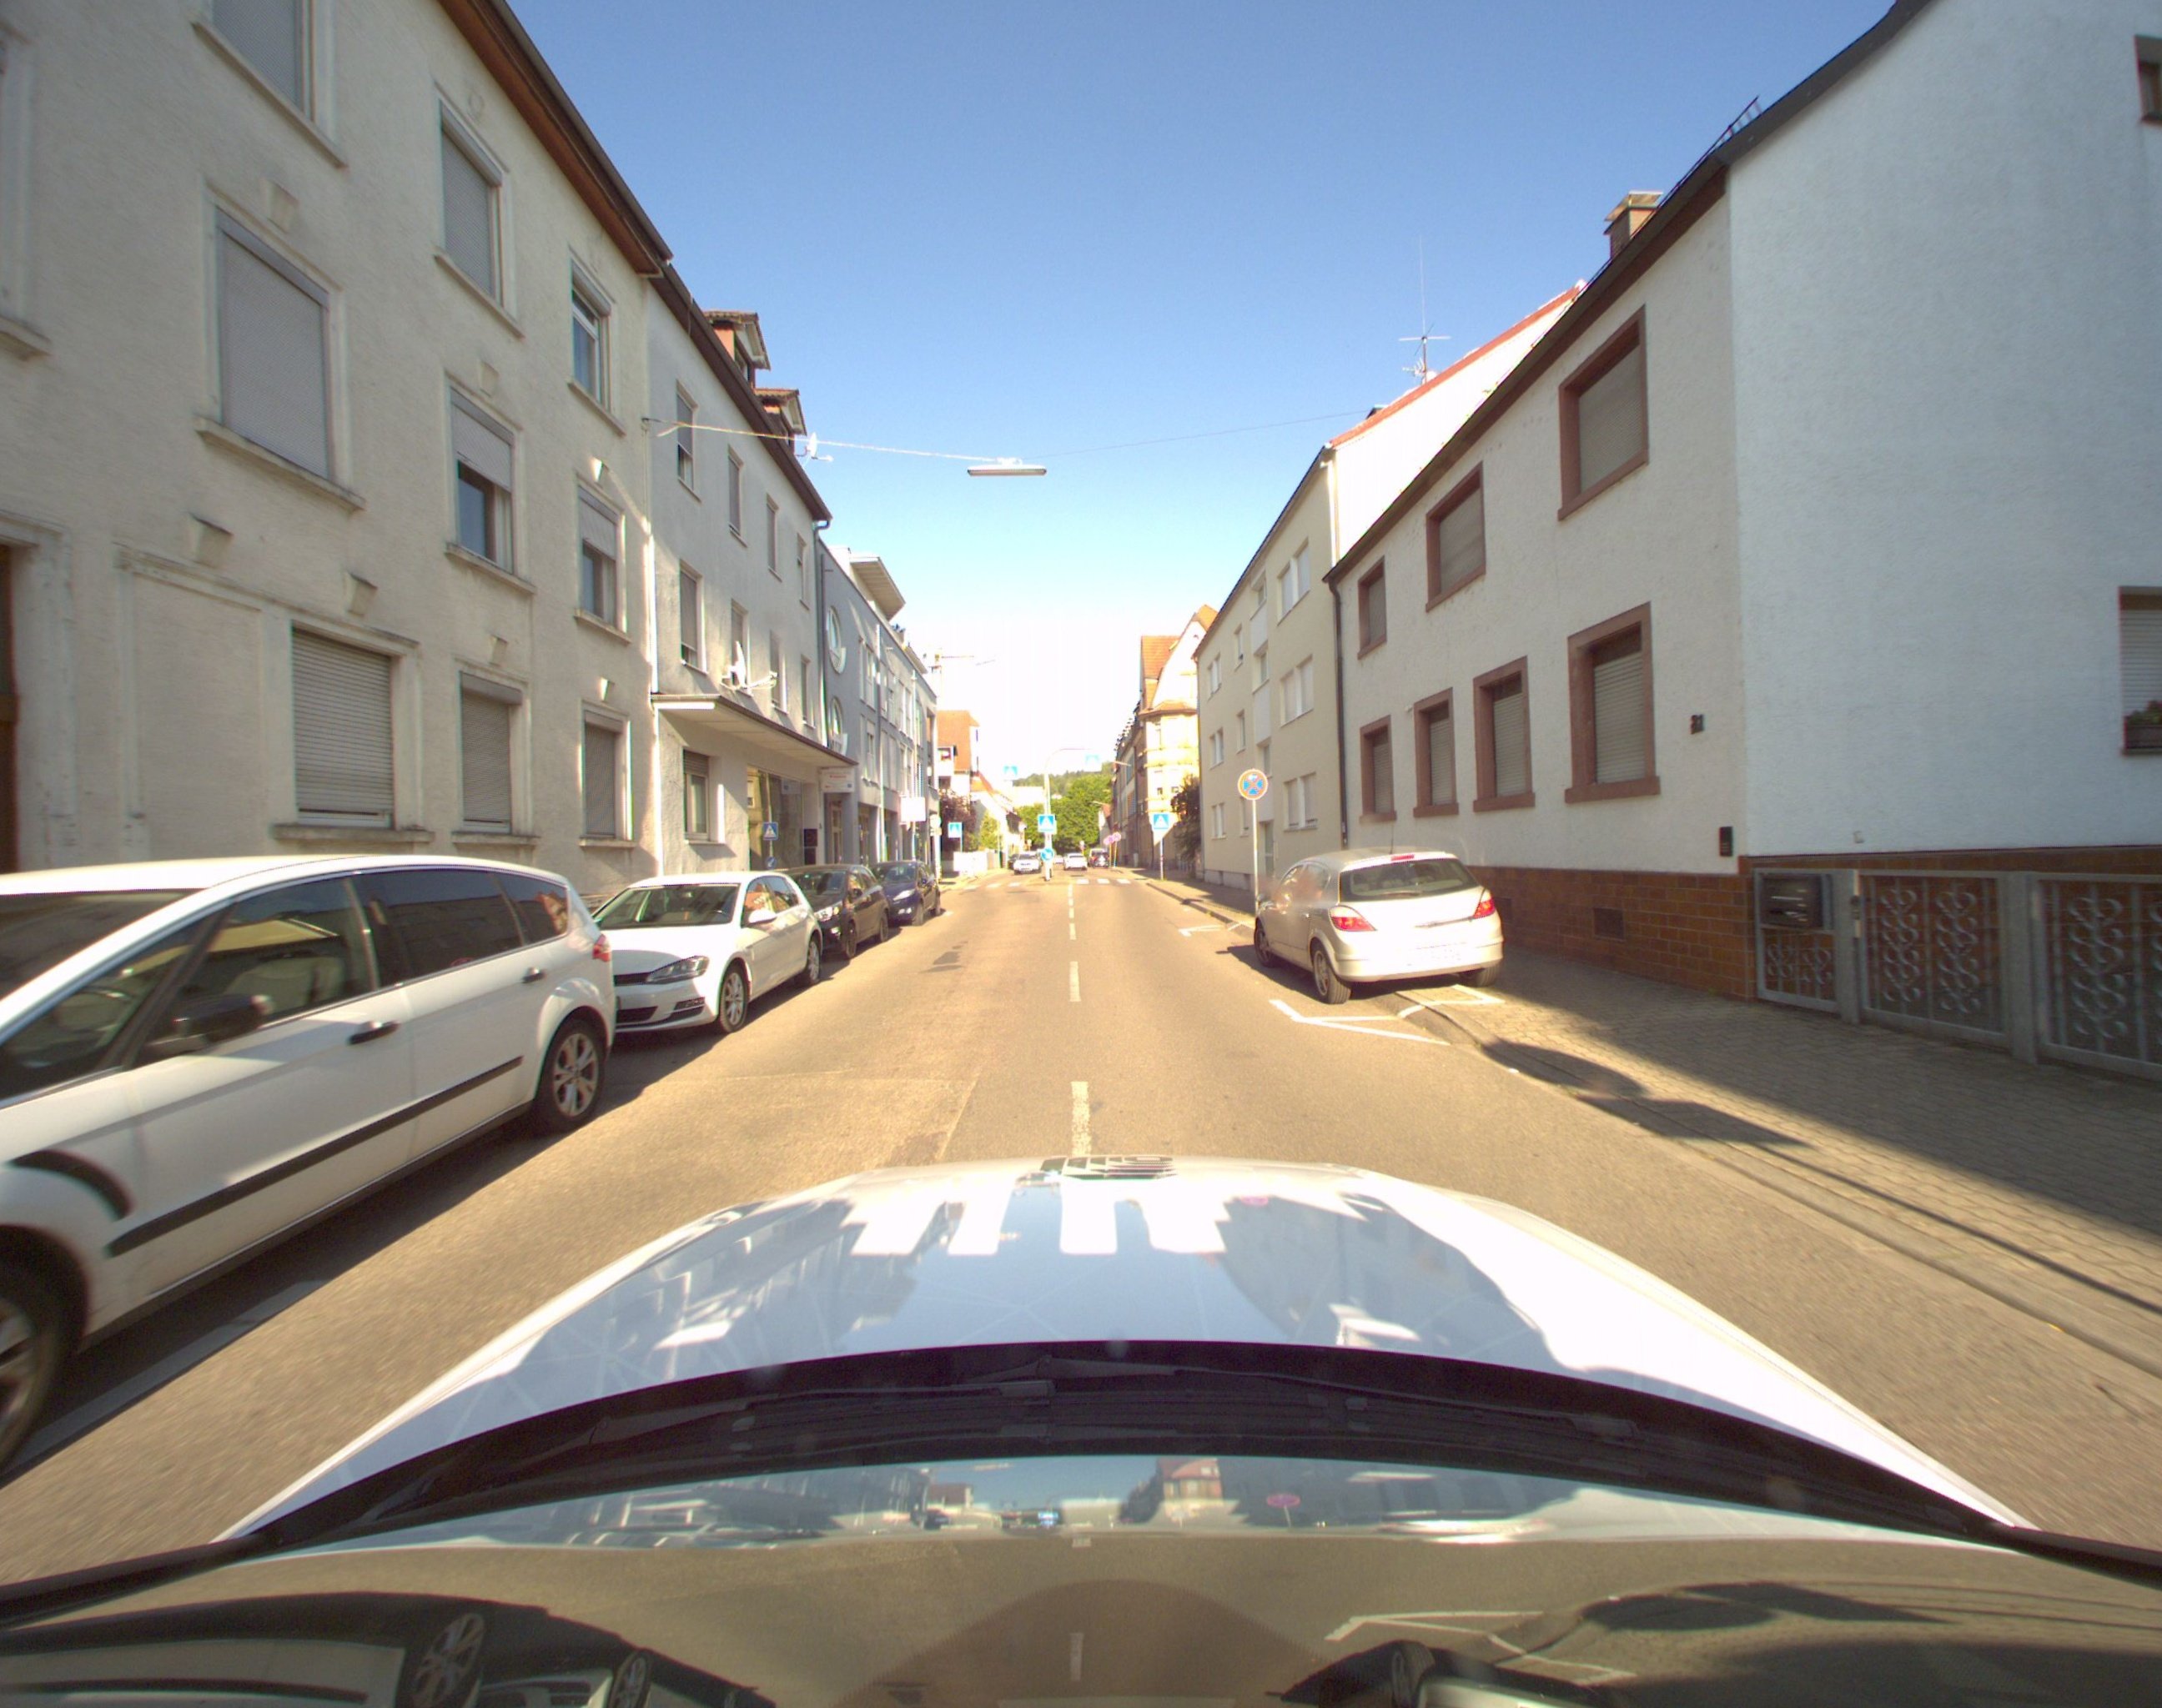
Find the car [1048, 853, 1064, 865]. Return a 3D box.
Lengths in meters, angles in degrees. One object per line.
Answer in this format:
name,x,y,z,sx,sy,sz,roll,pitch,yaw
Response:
car,-4.333,0.846,138.022,1.995,2.013,3.983,-2,0,-12

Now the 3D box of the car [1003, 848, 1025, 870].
car,-6.444,0.469,78.558,1.989,2.013,3.996,-1,0,-3

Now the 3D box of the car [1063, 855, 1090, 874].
car,-0.398,0.838,67.287,1.989,1.466,3.995,-2,0,-4

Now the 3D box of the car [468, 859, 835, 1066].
car,-4.077,0.880,8.631,1.761,1.495,4.122,-4,0,-3

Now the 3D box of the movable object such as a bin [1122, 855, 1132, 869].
movable object such as a bin,4.837,0.825,85.202,0.870,1.377,0.683,-3,1,-6

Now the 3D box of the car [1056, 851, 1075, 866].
car,-2.259,0.612,114.507,1.994,2.013,3.985,-2,0,-11

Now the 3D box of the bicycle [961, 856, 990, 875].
bicycle,-6.993,0.777,53.927,1.781,1.184,0.599,-2,0,-1

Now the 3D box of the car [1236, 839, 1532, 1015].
car,3.171,0.650,9.589,1.736,1.492,4.437,-3,0,0

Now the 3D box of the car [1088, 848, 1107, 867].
car,1.775,0.368,90.591,1.836,1.905,3.997,-3,1,-2

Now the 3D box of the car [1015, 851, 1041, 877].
car,-3.958,0.711,60.289,1.804,1.701,4.184,-4,0,-5

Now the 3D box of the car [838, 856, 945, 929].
car,-4.424,0.848,19.556,1.726,1.499,3.955,-2,-1,-2

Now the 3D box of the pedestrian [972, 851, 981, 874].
pedestrian,-6.967,0.574,54.318,0.556,1.472,0.600,-2,0,-5

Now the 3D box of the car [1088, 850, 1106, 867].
car,1.690,0.478,85.675,1.812,1.630,4.001,-3,1,1

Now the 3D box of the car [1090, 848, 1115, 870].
car,1.890,0.431,74.311,2.006,1.853,3.997,-1,1,-2

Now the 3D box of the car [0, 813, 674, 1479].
car,-3.773,0.737,3.218,1.990,1.648,5.214,-1,0,-4

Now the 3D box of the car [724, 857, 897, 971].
car,-4.394,0.880,13.860,1.656,1.526,3.806,-4,0,-2
